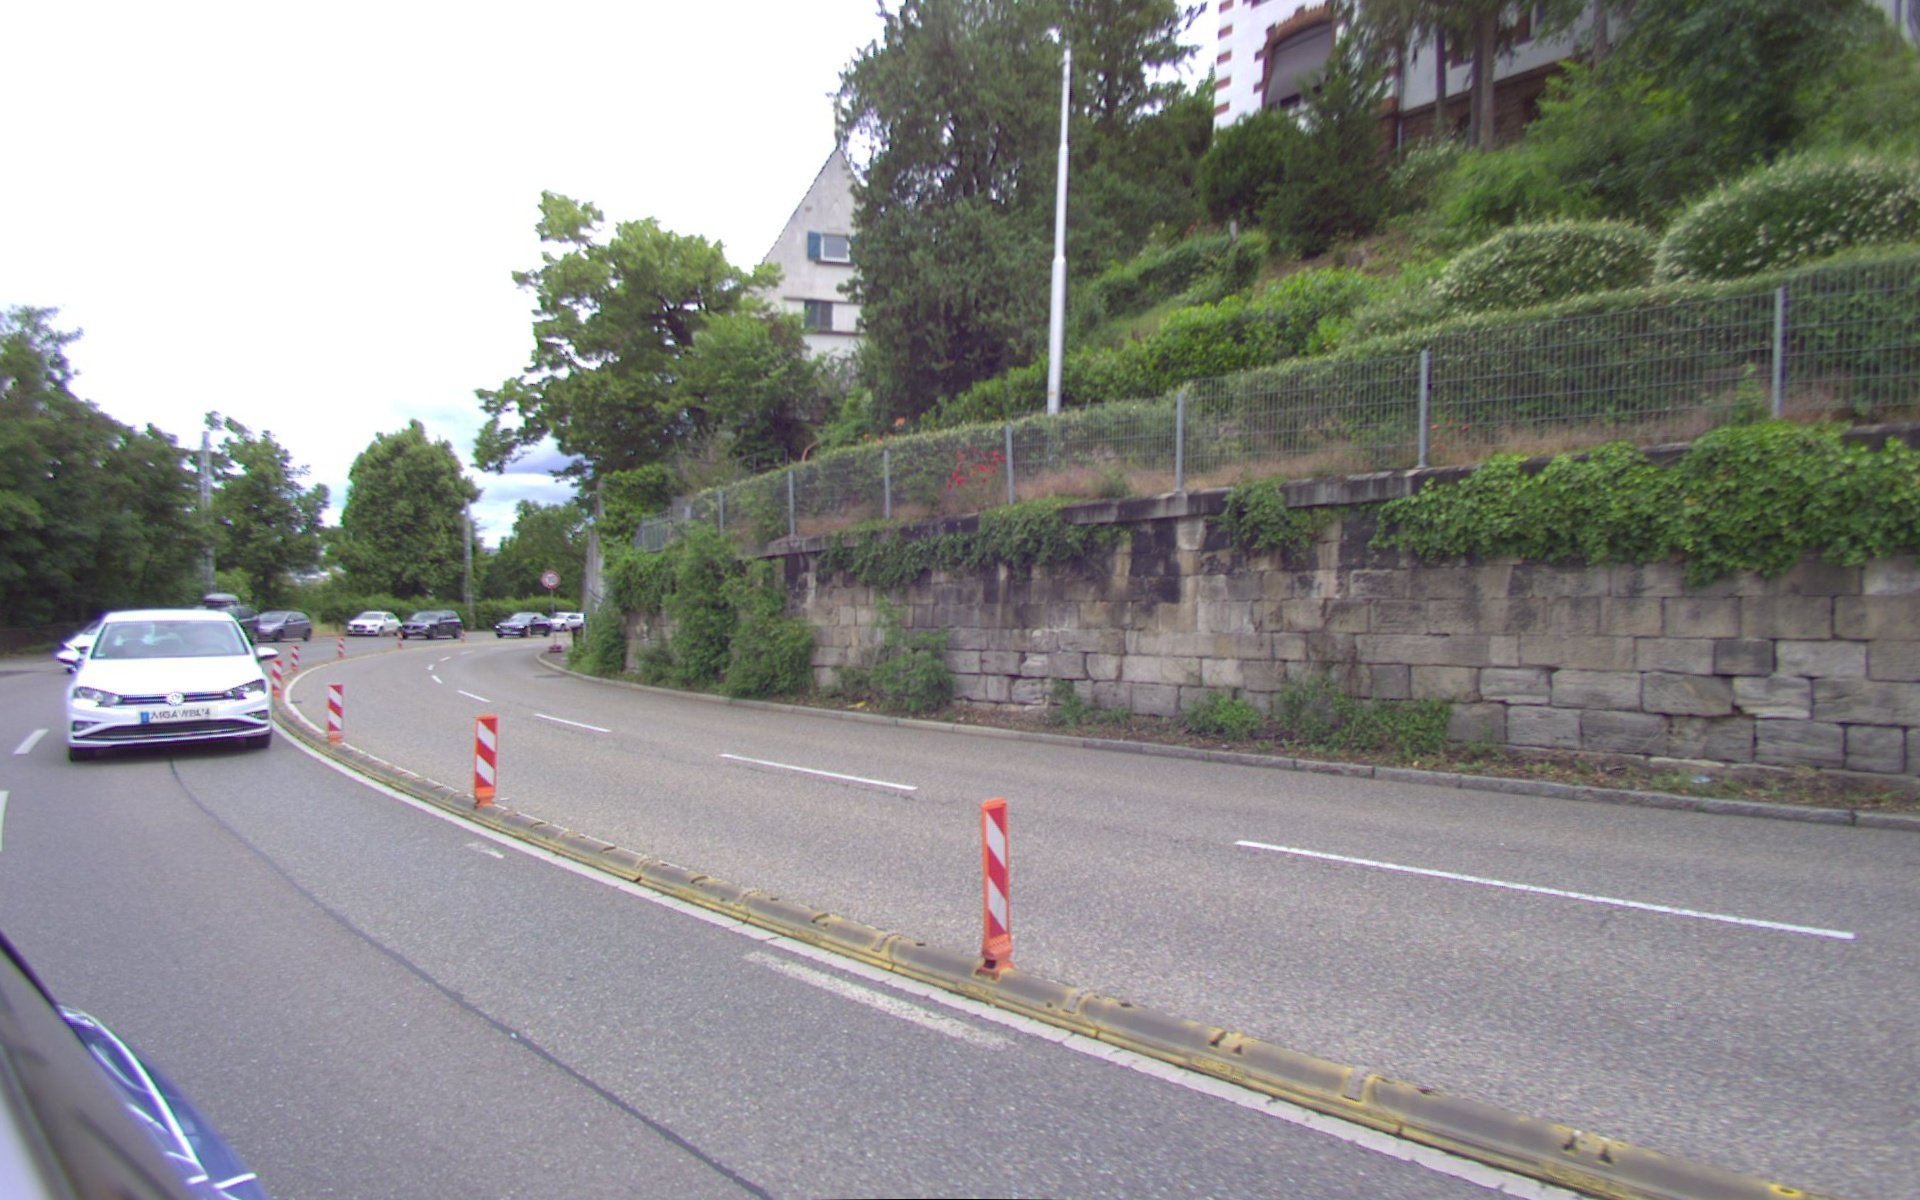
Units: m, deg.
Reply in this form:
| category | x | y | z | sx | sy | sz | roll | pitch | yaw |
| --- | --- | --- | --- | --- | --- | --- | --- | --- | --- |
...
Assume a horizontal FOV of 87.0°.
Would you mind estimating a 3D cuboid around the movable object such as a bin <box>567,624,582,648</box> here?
| category | x | y | z | sx | sy | sz | roll | pitch | yaw |
| --- | --- | --- | --- | --- | --- | --- | --- | --- | --- |
| movable object such as a bin | -15.722 | 1.480 | 41.282 | 0.519 | 0.970 | 0.461 | 1 | -1 | -16 |

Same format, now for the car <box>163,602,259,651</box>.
| category | x | y | z | sx | sy | sz | roll | pitch | yaw |
| --- | --- | --- | --- | --- | --- | --- | --- | --- | --- |
| car | -30.781 | 1.055 | 41.741 | 1.670 | 1.846 | 4.417 | 3 | -2 | -17 |

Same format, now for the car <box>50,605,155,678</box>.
| category | x | y | z | sx | sy | sz | roll | pitch | yaw |
| --- | --- | --- | --- | --- | --- | --- | --- | --- | --- |
| car | -22.740 | 1.033 | 26.975 | 1.968 | 1.731 | 4.008 | 0 | 0 | -38 |

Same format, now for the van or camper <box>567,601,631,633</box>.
| category | x | y | z | sx | sy | sz | roll | pitch | yaw |
| --- | --- | --- | --- | --- | --- | --- | --- | --- | --- |
| van or camper | -30.707 | 1.446 | 86.271 | 2.249 | 2.648 | 5.389 | 0 | -1 | 18 |

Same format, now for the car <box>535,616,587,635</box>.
| category | x | y | z | sx | sy | sz | roll | pitch | yaw |
| --- | --- | --- | --- | --- | --- | --- | --- | --- | --- |
| car | -31.642 | 2.035 | 80.428 | 1.858 | 1.444 | 4.081 | 0 | -1 | 14 |

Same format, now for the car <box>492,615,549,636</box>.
| category | x | y | z | sx | sy | sz | roll | pitch | yaw |
| --- | --- | --- | --- | --- | --- | --- | --- | --- | --- |
| car | -32.406 | 1.874 | 74.713 | 1.913 | 1.444 | 4.086 | 0 | -1 | 10 |

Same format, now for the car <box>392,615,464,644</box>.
| category | x | y | z | sx | sy | sz | roll | pitch | yaw |
| --- | --- | --- | --- | --- | --- | --- | --- | --- | --- |
| car | -30.075 | 1.649 | 57.332 | 1.876 | 1.505 | 4.140 | 0 | 0 | 1 |

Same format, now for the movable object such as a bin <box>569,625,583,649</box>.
| category | x | y | z | sx | sy | sz | roll | pitch | yaw |
| --- | --- | --- | --- | --- | --- | --- | --- | --- | --- |
| movable object such as a bin | -15.882 | 1.521 | 41.879 | 0.519 | 0.970 | 0.401 | 1 | -1 | -16 |

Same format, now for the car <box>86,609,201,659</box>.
| category | x | y | z | sx | sy | sz | roll | pitch | yaw |
| --- | --- | --- | --- | --- | --- | --- | --- | --- | --- |
| car | -29.135 | 1.233 | 36.256 | 1.670 | 1.533 | 3.928 | 6 | -4 | -16 |

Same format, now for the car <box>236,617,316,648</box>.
| category | x | y | z | sx | sy | sz | roll | pitch | yaw |
| --- | --- | --- | --- | --- | --- | --- | --- | --- | --- |
| car | -32.355 | 1.518 | 48.022 | 1.902 | 1.444 | 4.011 | 1 | -1 | -15 |

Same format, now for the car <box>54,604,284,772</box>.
| category | x | y | z | sx | sy | sz | roll | pitch | yaw |
| --- | --- | --- | --- | --- | --- | --- | --- | --- | --- |
| car | -9.332 | 0.860 | 11.792 | 1.799 | 1.592 | 4.361 | 1 | -1 | -42 |

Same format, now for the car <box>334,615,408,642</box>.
| category | x | y | z | sx | sy | sz | roll | pitch | yaw |
| --- | --- | --- | --- | --- | --- | --- | --- | --- | --- |
| car | -33.945 | 1.629 | 58.454 | 1.907 | 1.444 | 4.000 | 1 | -1 | 0 |

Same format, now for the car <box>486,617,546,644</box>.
| category | x | y | z | sx | sy | sz | roll | pitch | yaw |
| --- | --- | --- | --- | --- | --- | --- | --- | --- | --- |
| car | -28.081 | 1.896 | 64.161 | 1.900 | 1.505 | 4.139 | 0 | 1 | 2 |
